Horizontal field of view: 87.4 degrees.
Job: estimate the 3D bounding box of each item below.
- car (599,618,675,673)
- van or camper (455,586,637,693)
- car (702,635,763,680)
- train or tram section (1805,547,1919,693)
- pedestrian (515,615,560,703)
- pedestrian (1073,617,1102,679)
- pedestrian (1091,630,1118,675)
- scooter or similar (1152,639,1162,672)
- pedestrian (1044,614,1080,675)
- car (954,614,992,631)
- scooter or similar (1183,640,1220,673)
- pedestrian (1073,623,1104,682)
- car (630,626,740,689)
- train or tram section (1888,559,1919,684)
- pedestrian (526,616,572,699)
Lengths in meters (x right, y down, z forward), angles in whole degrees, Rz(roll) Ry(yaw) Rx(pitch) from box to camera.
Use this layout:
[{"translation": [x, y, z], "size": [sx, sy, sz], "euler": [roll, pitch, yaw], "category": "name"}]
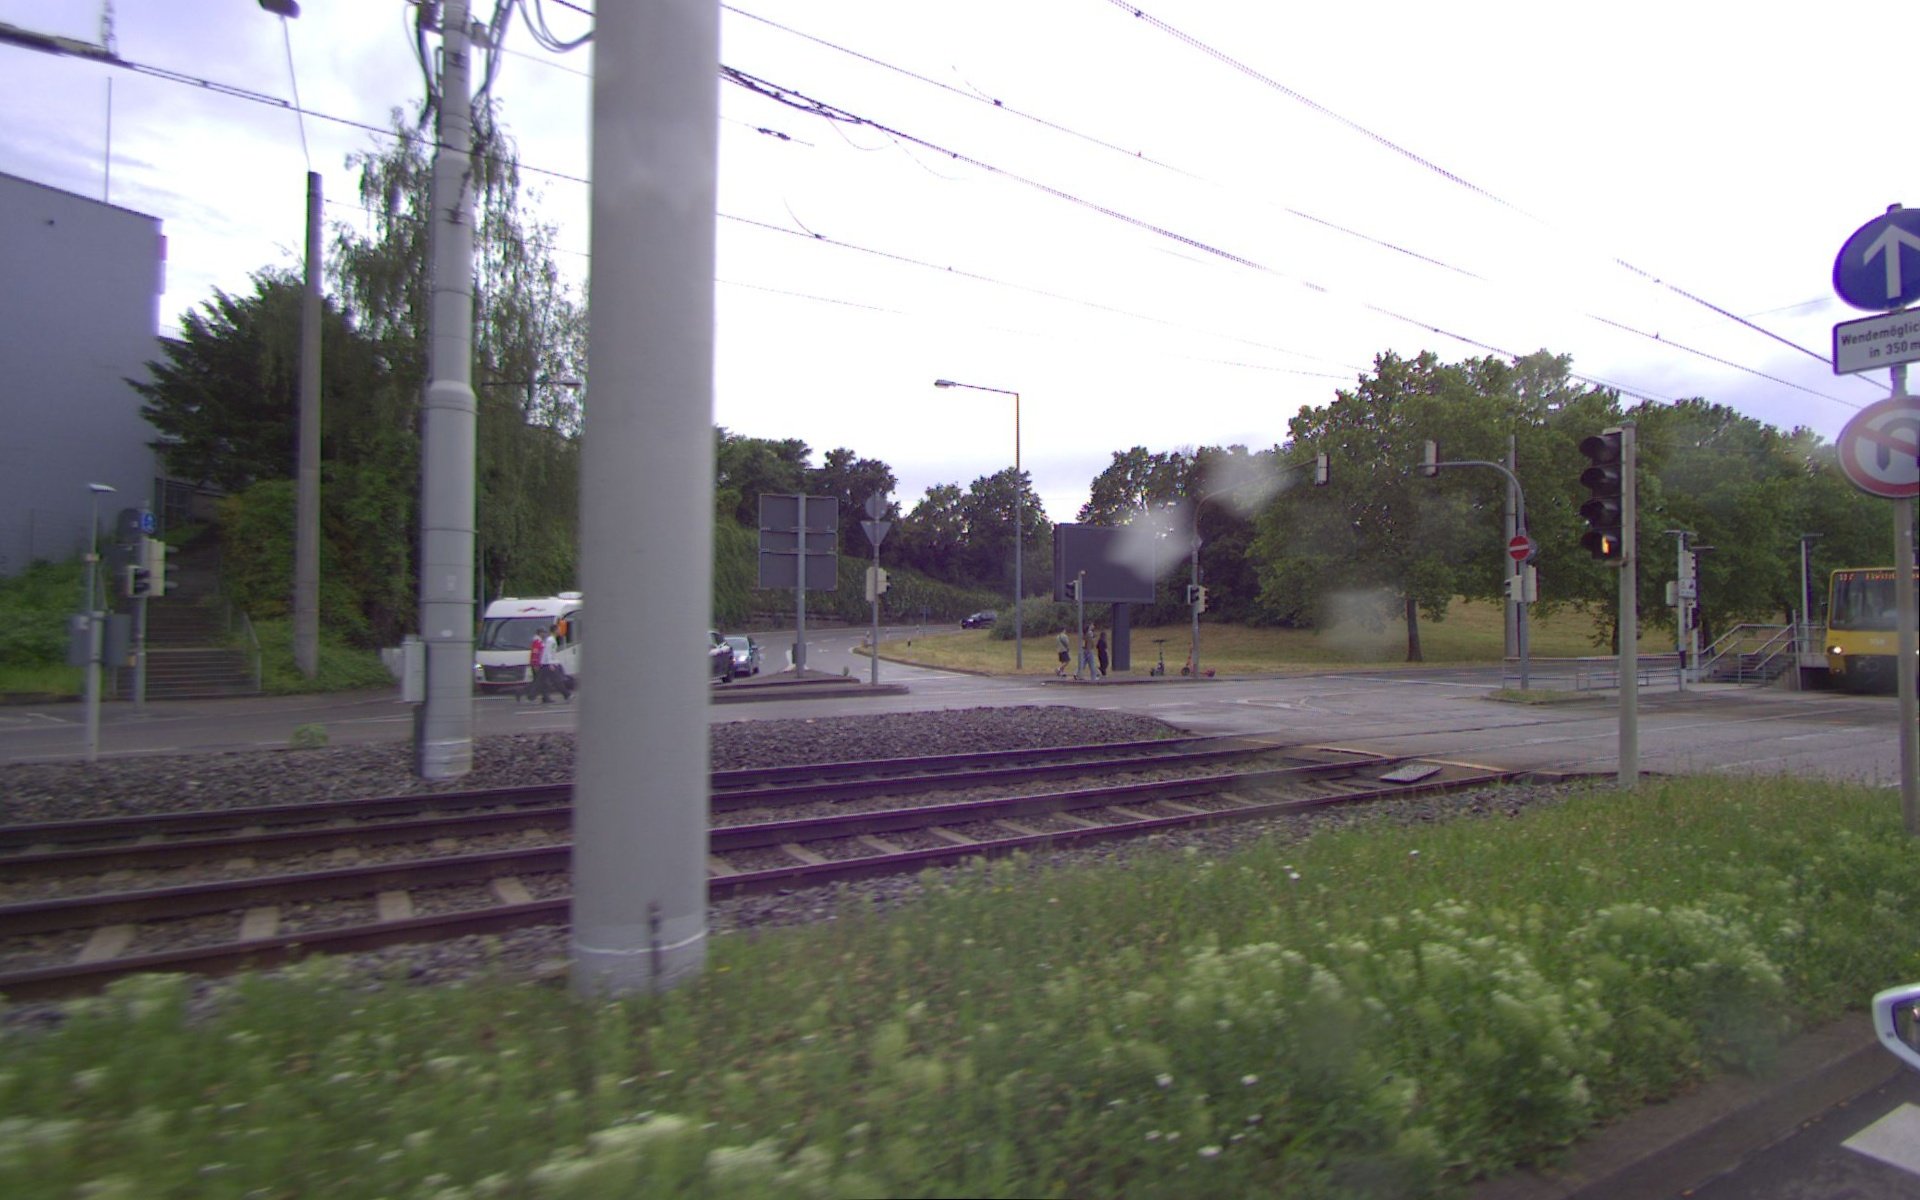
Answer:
[{"translation": [-12.732, 1.775, 39.826], "size": [1.962, 2.040, 4.521], "euler": [0, -2, -6], "category": "car"}, {"translation": [-12.770, 1.204, 31.779], "size": [2.441, 3.006, 7.378], "euler": [0, -1, 2], "category": "van or camper"}, {"translation": [-8.471, 2.111, 37.741], "size": [1.806, 1.586, 3.996], "euler": [0, -2, -7], "category": "car"}, {"translation": [28.644, 0.617, 30.129], "size": [6.924, 3.985, 2.914], "euler": [2, 0, -31], "category": "train or tram section"}, {"translation": [-10.024, 1.390, 23.804], "size": [0.932, 2.040, 0.885], "euler": [1, -2, -24], "category": "pedestrian"}, {"translation": [4.113, 1.548, 32.376], "size": [0.713, 1.981, 0.493], "euler": [1, 0, -28], "category": "pedestrian"}, {"translation": [4.927, 1.779, 34.187], "size": [0.713, 1.493, 0.493], "euler": [1, 0, -31], "category": "pedestrian"}, {"translation": [7.064, 1.989, 36.030], "size": [0.282, 1.177, 0.769], "euler": [-1, -2, 14], "category": "scooter or similar"}, {"translation": [3.459, 1.516, 34.128], "size": [0.858, 2.040, 0.880], "euler": [2, -2, -37], "category": "pedestrian"}, {"translation": [1.326, 2.247, 100.052], "size": [1.901, 1.702, 3.985], "euler": [-1, -2, 37], "category": "car"}, {"translation": [8.578, 2.009, 35.729], "size": [1.254, 1.177, 0.380], "euler": [-1, -2, 13], "category": "scooter or similar"}, {"translation": [4.071, 1.657, 31.847], "size": [0.821, 1.811, 0.504], "euler": [1, 0, -28], "category": "pedestrian"}, {"translation": [-8.272, 1.685, 30.678], "size": [1.960, 1.755, 4.632], "euler": [0, -1, 1], "category": "car"}, {"translation": [34.167, 0.787, 33.437], "size": [6.924, 3.985, 2.914], "euler": [2, 0, -31], "category": "train or tram section"}, {"translation": [-9.535, 1.330, 23.292], "size": [0.940, 1.892, 0.632], "euler": [1, -2, -24], "category": "pedestrian"}]
